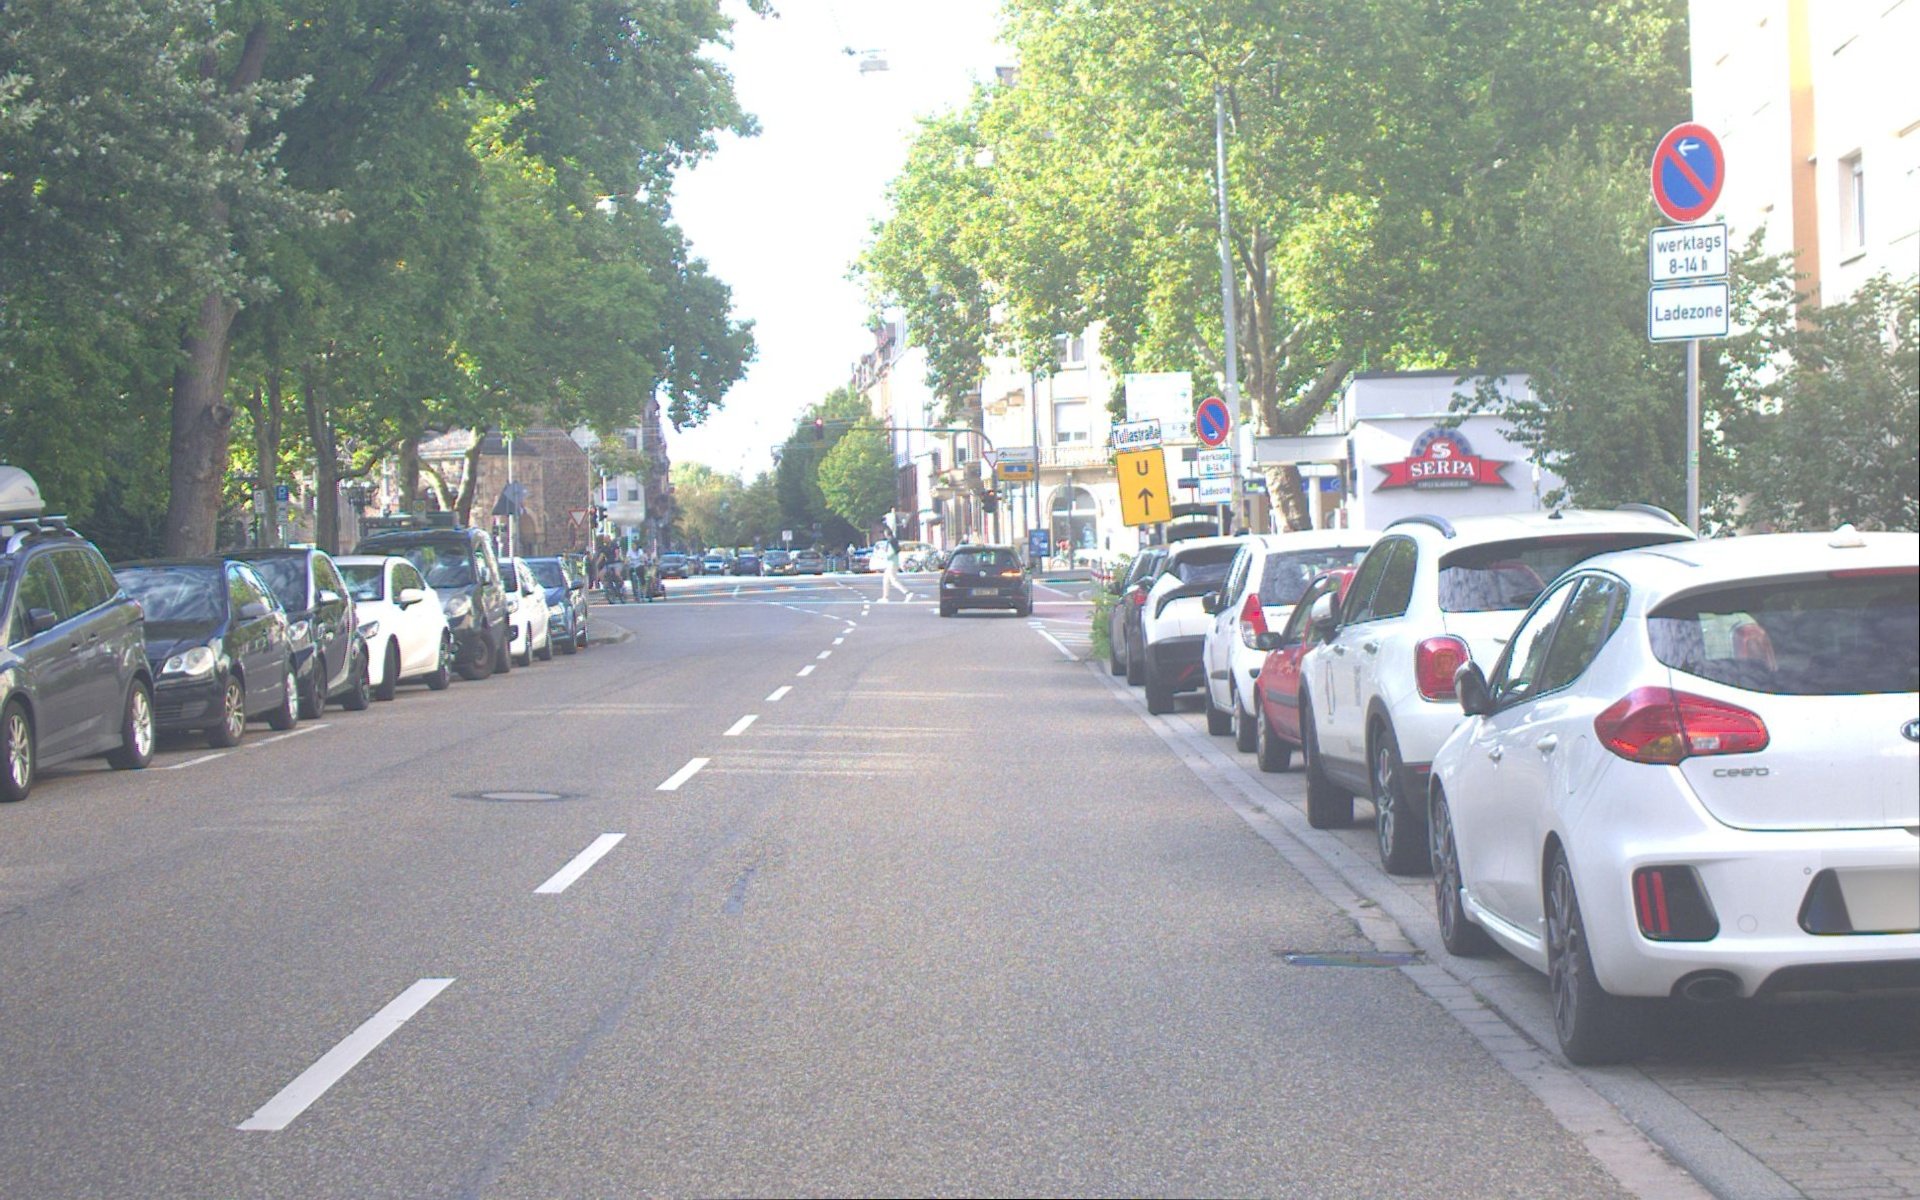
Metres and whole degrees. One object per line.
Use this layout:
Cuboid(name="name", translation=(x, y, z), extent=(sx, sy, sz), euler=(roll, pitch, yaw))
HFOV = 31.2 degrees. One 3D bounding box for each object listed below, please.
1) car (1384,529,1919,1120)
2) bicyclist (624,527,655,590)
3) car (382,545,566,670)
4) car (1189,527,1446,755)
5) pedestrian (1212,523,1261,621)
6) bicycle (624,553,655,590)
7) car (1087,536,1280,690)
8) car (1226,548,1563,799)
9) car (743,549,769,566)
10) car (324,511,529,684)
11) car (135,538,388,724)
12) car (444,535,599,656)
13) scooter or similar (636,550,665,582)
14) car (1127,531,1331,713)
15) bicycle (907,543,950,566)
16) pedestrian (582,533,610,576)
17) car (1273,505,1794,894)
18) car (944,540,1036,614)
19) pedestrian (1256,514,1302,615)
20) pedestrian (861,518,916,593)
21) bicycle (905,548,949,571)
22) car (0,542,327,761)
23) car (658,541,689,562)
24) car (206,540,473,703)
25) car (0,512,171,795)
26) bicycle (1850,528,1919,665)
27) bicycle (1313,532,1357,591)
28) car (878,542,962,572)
Cuboid(name="car", translation=(2.515, 0.541, 11.242), extent=(1.728, 1.482, 4.641), euler=(-2, 1, 1))
Cuboid(name="bicyclist", translation=(-8.663, -1.122, 92.943), extent=(0.811, 1.686, 1.113), euler=(0, 1, -7))
Cuboid(name="car", translation=(-6.496, 0.066, 46.317), extent=(1.799, 1.488, 3.803), euler=(-4, 1, 1))
Cuboid(name="car", translation=(2.603, 0.253, 25.631), extent=(1.551, 1.552, 3.468), euler=(-1, 1, 1))
Cuboid(name="pedestrian", translation=(4.419, -0.451, 54.958), extent=(0.652, 1.533, 0.743), euler=(-3, 1, 0))
Cuboid(name="bicycle", translation=(-8.668, -0.775, 93.020), extent=(0.761, 0.990, 1.927), euler=(0, 1, -7))
Cuboid(name="car", translation=(2.372, 0.091, 37.454), extent=(1.690, 1.523, 4.238), euler=(-2, 1, -1))
Cuboid(name="car", translation=(2.668, 0.401, 21.805), extent=(1.515, 1.393, 3.676), euler=(-2, 1, -2))
Cuboid(name="car", translation=(-14.975, -3.123, 252.767), extent=(1.778, 1.225, 3.588), euler=(0, 1, -1))
Cuboid(name="car", translation=(-6.313, -0.070, 41.062), extent=(1.723, 1.876, 4.192), euler=(-3, 1, 0))
Cuboid(name="car", translation=(-6.332, 0.247, 31.438), extent=(1.553, 1.515, 3.016), euler=(-4, 1, 1))
Cuboid(name="car", translation=(-6.447, -0.095, 50.891), extent=(1.799, 1.614, 3.803), euler=(-4, 1, -1))
Cuboid(name="scooter or similar", translation=(-9.105, -1.002, 101.151), extent=(0.805, 0.919, 1.014), euler=(-1, 1, -7))
Cuboid(name="car", translation=(2.406, 0.145, 31.573), extent=(1.690, 1.523, 4.237), euler=(-1, 1, 3))
Cuboid(name="bicycle", translation=(-1.557, -2.272, 169.962), extent=(2.022, 1.078, 0.620), euler=(-2, 1, -13))
Cuboid(name="pedestrian", translation=(-13.882, -1.737, 131.167), extent=(0.781, 1.656, 0.778), euler=(0, 1, 19))
Cuboid(name="car", translation=(2.618, 0.392, 16.627), extent=(1.728, 1.575, 4.117), euler=(-2, 1, -1))
Cuboid(name="car", translation=(0.575, -0.477, 68.540), extent=(1.751, 1.409, 4.000), euler=(-1, 1, -1))
Cuboid(name="pedestrian", translation=(5.220, -0.585, 56.291), extent=(0.652, 1.639, 0.743), euler=(-1, 1, 0))
Cuboid(name="pedestrian", translation=(-1.699, -1.061, 81.572), extent=(1.074, 1.747, 0.919), euler=(-1, 1, -16))
Cuboid(name="bicycle", translation=(-1.639, -2.025, 170.587), extent=(2.022, 1.078, 0.631), euler=(-2, 1, -13))
Cuboid(name="car", translation=(-6.231, 0.344, 26.903), extent=(1.700, 1.482, 3.848), euler=(-4, 1, 1))
Cuboid(name="car", translation=(-17.117, -2.889, 205.566), extent=(1.550, 1.225, 3.588), euler=(0, 1, -1))
Cuboid(name="car", translation=(-6.388, 0.172, 35.827), extent=(1.694, 1.488, 4.332), euler=(-3, 1, 3))
Cuboid(name="car", translation=(-6.544, 0.332, 21.968), extent=(1.799, 1.662, 4.482), euler=(-4, 1, 1))
Cuboid(name="bicycle", translation=(8.852, -0.052, 31.775), extent=(0.597, 1.183, 2.209), euler=(-4, 1, 0))
Cuboid(name="bicycle", translation=(7.986, -0.823, 73.283), extent=(0.769, 1.202, 1.815), euler=(-3, 1, 3))
Cuboid(name="car", translation=(-2.033, -2.160, 172.343), extent=(3.986, 1.415, 2.000), euler=(-2, 1, -7))
